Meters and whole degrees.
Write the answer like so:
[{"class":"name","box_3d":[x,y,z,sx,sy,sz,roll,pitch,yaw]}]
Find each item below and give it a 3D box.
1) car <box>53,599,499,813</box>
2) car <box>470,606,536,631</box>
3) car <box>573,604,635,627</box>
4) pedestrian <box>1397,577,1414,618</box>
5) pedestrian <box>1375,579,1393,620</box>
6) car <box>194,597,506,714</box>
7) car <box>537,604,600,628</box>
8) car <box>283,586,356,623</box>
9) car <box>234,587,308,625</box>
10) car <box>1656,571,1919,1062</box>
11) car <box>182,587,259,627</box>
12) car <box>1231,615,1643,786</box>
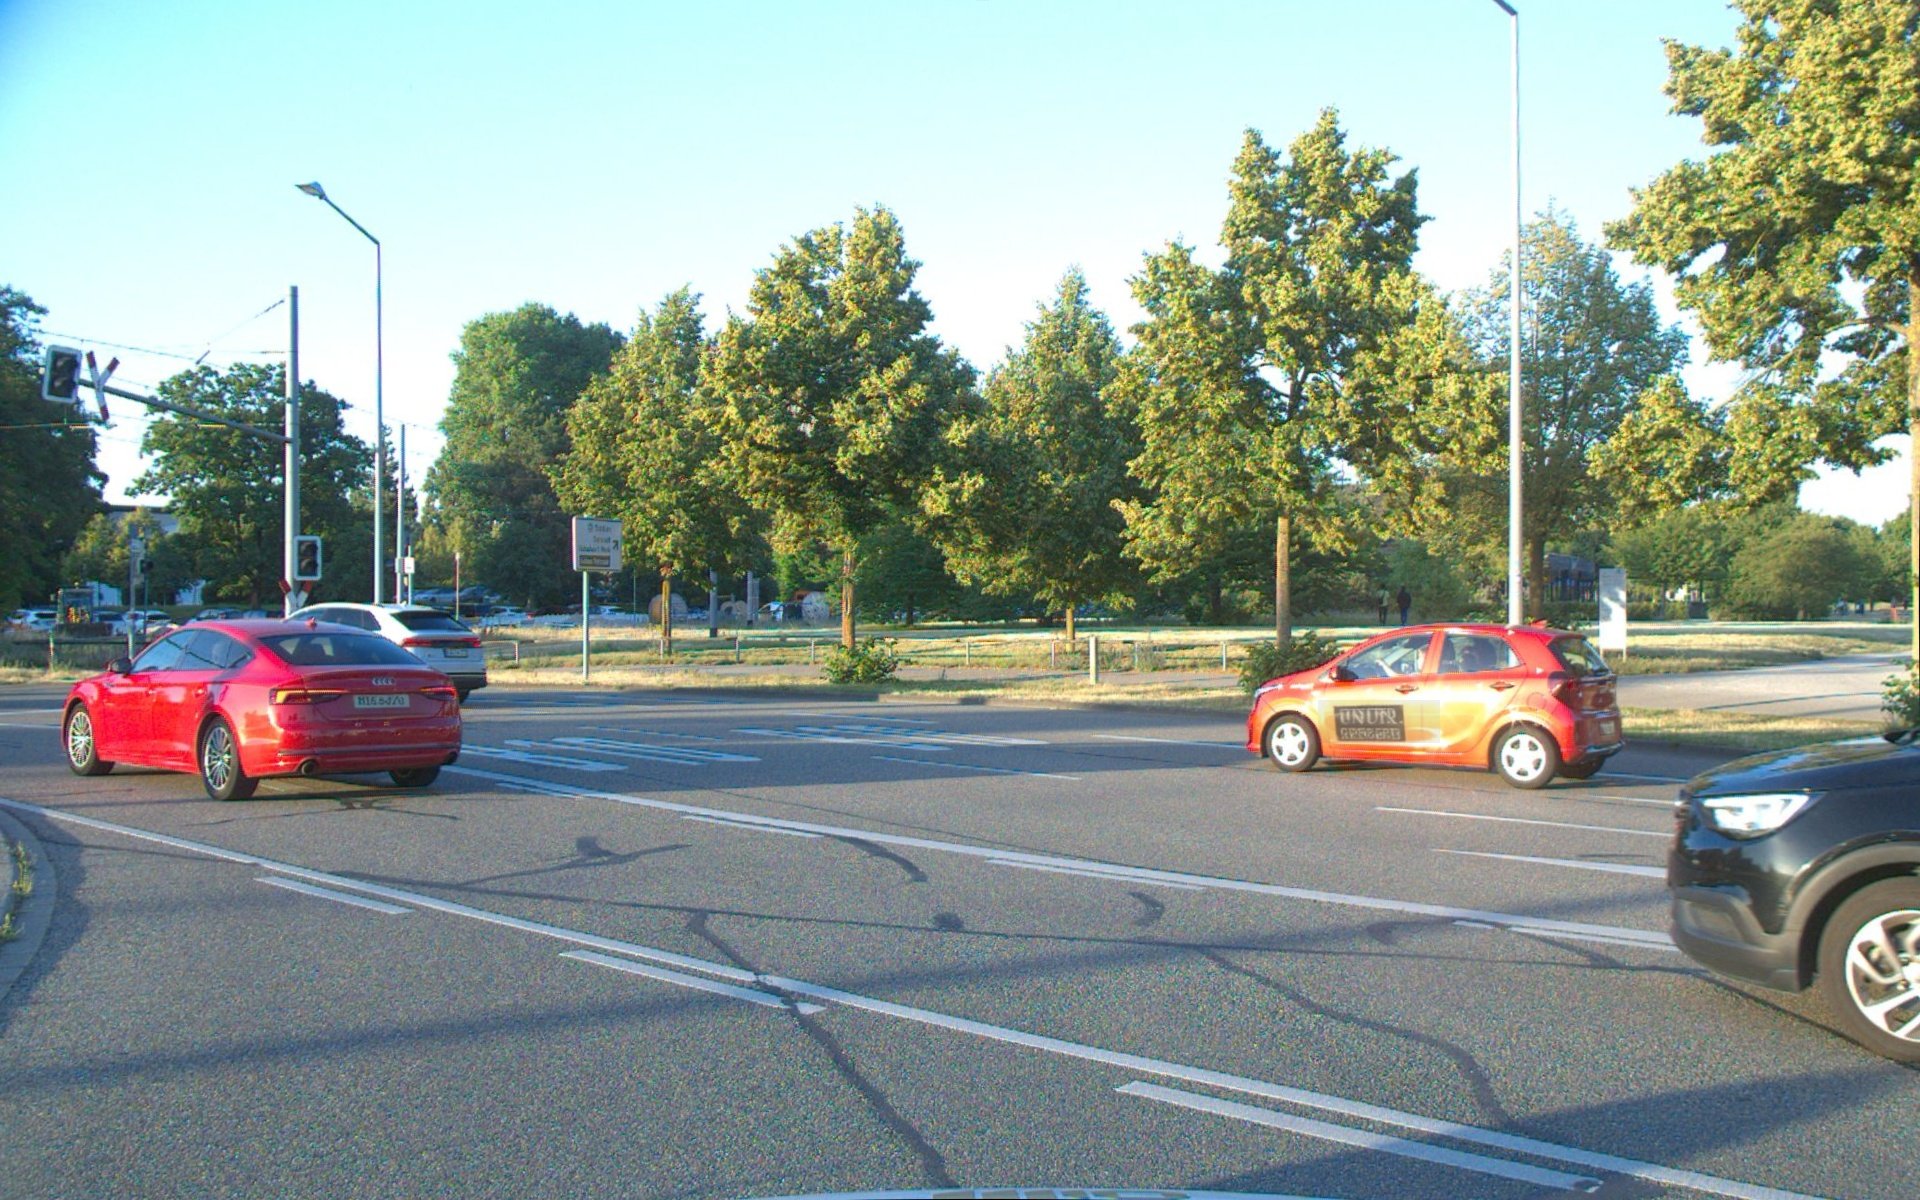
[{"class":"car","box_3d":[-5.952,0.763,14.118,4.501,1.486,1.834,1,1,43]},{"class":"car","box_3d":[-29.703,1.215,107.465,3.913,1.578,1.996,0,0,30]},{"class":"car","box_3d":[-24.876,1.071,115.647,3.913,1.578,1.996,0,0,30]},{"class":"pedestrian","box_3d":[18.337,-0.111,68.102,0.519,1.655,0.618,0,0,34]},{"class":"pedestrian","box_3d":[17.491,-0.018,68.218,0.522,1.655,0.578,0,0,37]},{"class":"car","box_3d":[-9.982,0.841,27.033,4.826,1.740,1.913,1,1,24]},{"class":"car","box_3d":[-26.781,1.099,113.009,3.913,1.578,1.996,0,0,30]},{"class":"car","box_3d":[-37.231,0.253,96.118,3.914,2.135,1.995,0,0,31]},{"class":"car","box_3d":[-38.921,0.320,93.415,3.914,2.135,1.995,0,0,31]},{"class":"car","box_3d":[4.672,0.739,5.732,4.044,1.641,1.719,0,-1,28]},{"class":"car","box_3d":[-40.576,0.386,90.761,3.914,2.135,1.995,0,0,31]},{"class":"car","box_3d":[4.671,0.907,16.372,3.562,1.509,1.719,0,-1,38]}]
